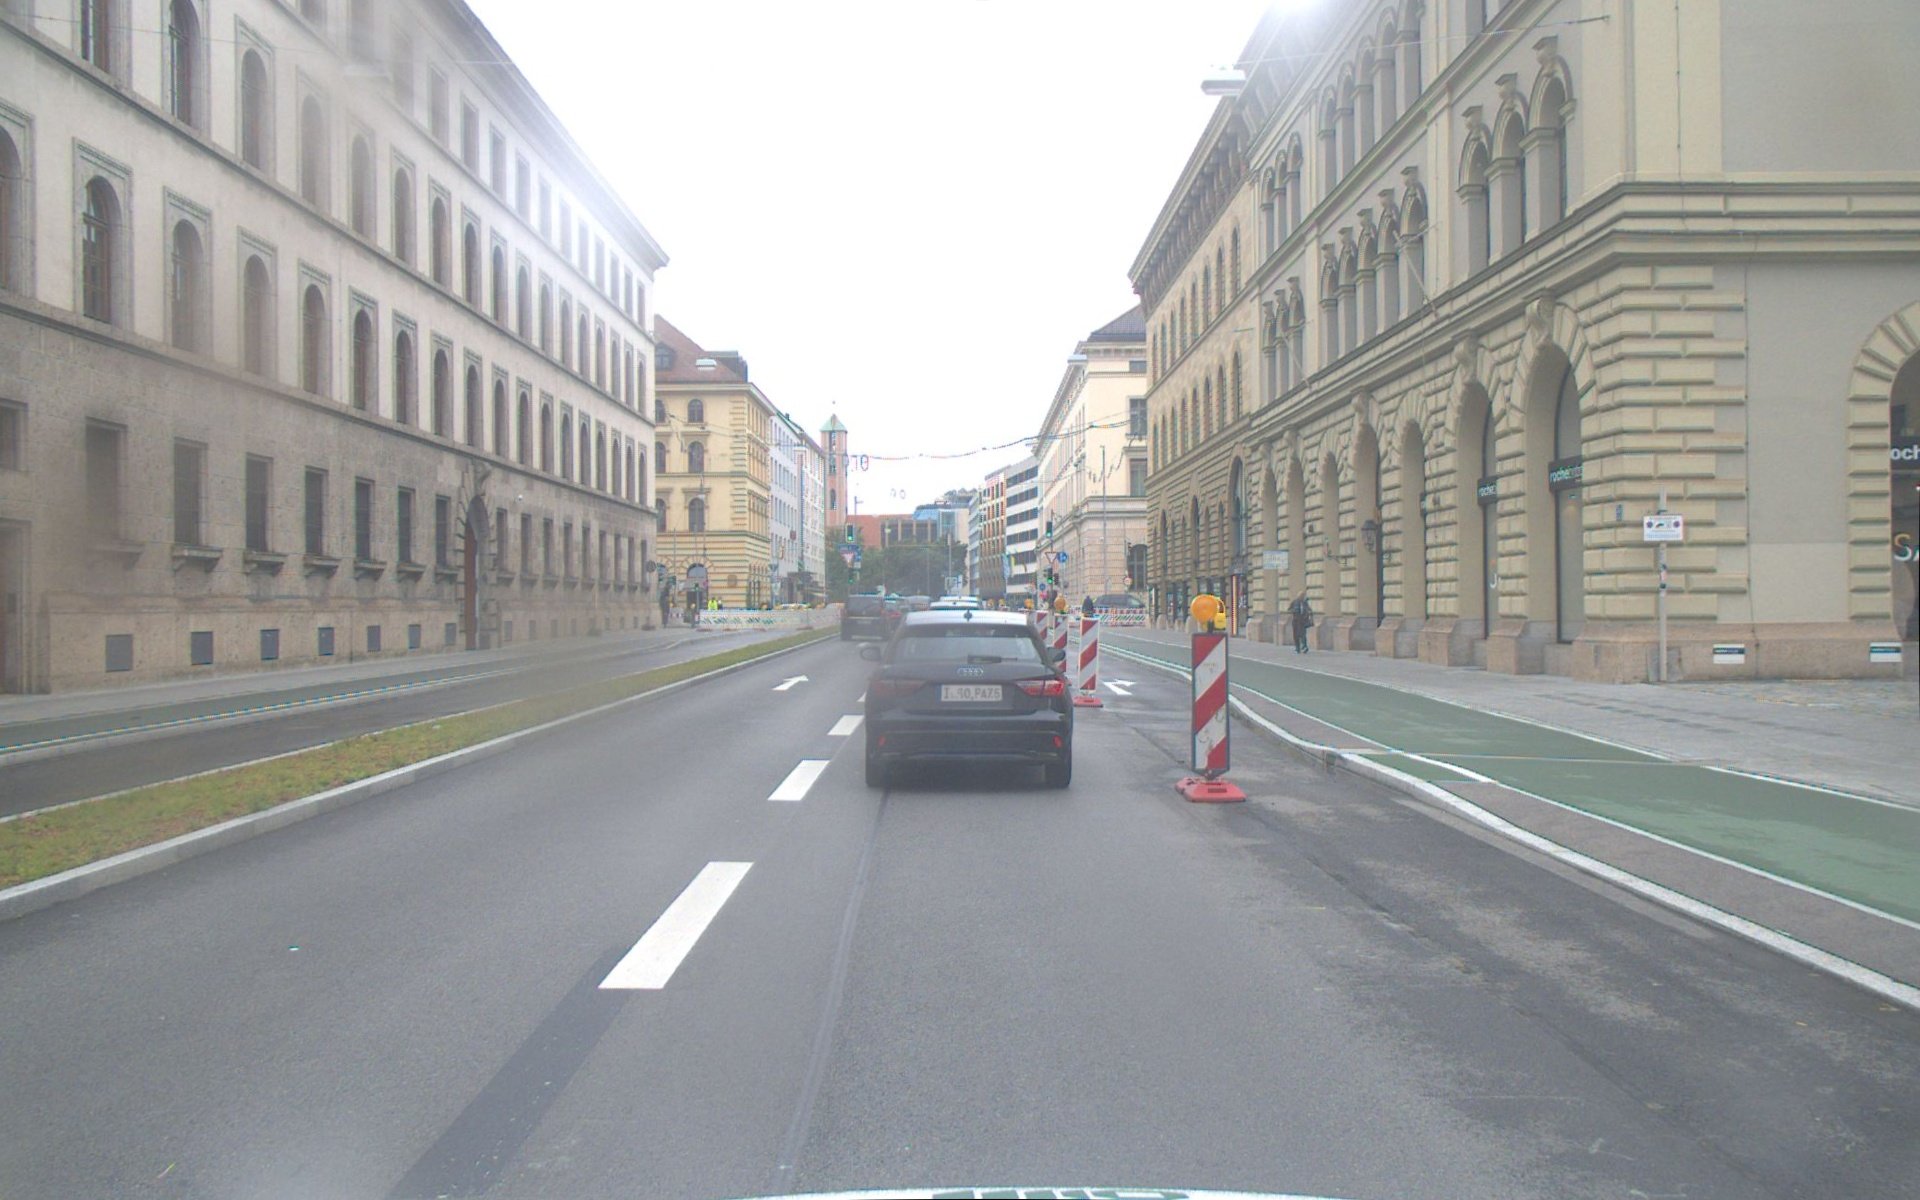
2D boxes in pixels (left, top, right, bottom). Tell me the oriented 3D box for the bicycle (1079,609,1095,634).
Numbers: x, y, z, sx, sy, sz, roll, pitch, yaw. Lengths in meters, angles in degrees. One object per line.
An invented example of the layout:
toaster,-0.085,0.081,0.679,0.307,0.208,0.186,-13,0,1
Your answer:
bicycle,6.168,1.031,80.414,0.713,1.176,2.172,0,0,2

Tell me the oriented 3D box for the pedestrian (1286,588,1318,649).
pedestrian,9.299,0.490,44.994,0.695,1.646,0.754,0,0,-1

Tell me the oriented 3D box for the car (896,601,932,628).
car,-2.648,0.811,95.430,1.953,1.469,4.000,0,0,0

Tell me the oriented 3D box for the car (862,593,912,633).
car,-3.119,0.554,71.494,1.953,1.656,4.000,0,0,0

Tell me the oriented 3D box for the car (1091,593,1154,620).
car,10.250,0.416,104.378,3.903,1.691,2.001,0,0,4

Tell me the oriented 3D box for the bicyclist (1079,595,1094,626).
bicyclist,6.154,0.501,80.317,0.695,1.526,0.754,0,0,2

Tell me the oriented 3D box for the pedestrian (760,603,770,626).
pedestrian,-13.505,0.989,114.506,0.642,1.617,0.727,0,0,-1

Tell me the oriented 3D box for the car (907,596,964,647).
car,-0.750,0.637,51.491,1.695,1.486,4.000,1,0,0

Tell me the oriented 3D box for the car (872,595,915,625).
car,-3.339,0.492,83.527,1.953,1.469,4.000,0,0,0

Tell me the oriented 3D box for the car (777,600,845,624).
car,-8.862,0.702,98.216,3.754,1.422,1.749,0,0,-18

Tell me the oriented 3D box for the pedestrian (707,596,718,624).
pedestrian,-16.478,0.684,110.106,0.642,1.836,0.727,0,0,-1

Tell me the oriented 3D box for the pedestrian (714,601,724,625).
pedestrian,-17.542,0.934,120.554,0.642,1.722,0.727,0,0,-1

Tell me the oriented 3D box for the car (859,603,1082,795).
car,0.073,0.765,14.698,1.695,1.427,4.000,1,0,0

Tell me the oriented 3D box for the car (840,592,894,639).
car,-3.319,0.543,59.882,1.728,1.644,4.029,1,0,0

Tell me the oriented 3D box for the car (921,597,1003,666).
car,0.032,0.659,36.634,1.695,1.427,4.000,1,0,0
